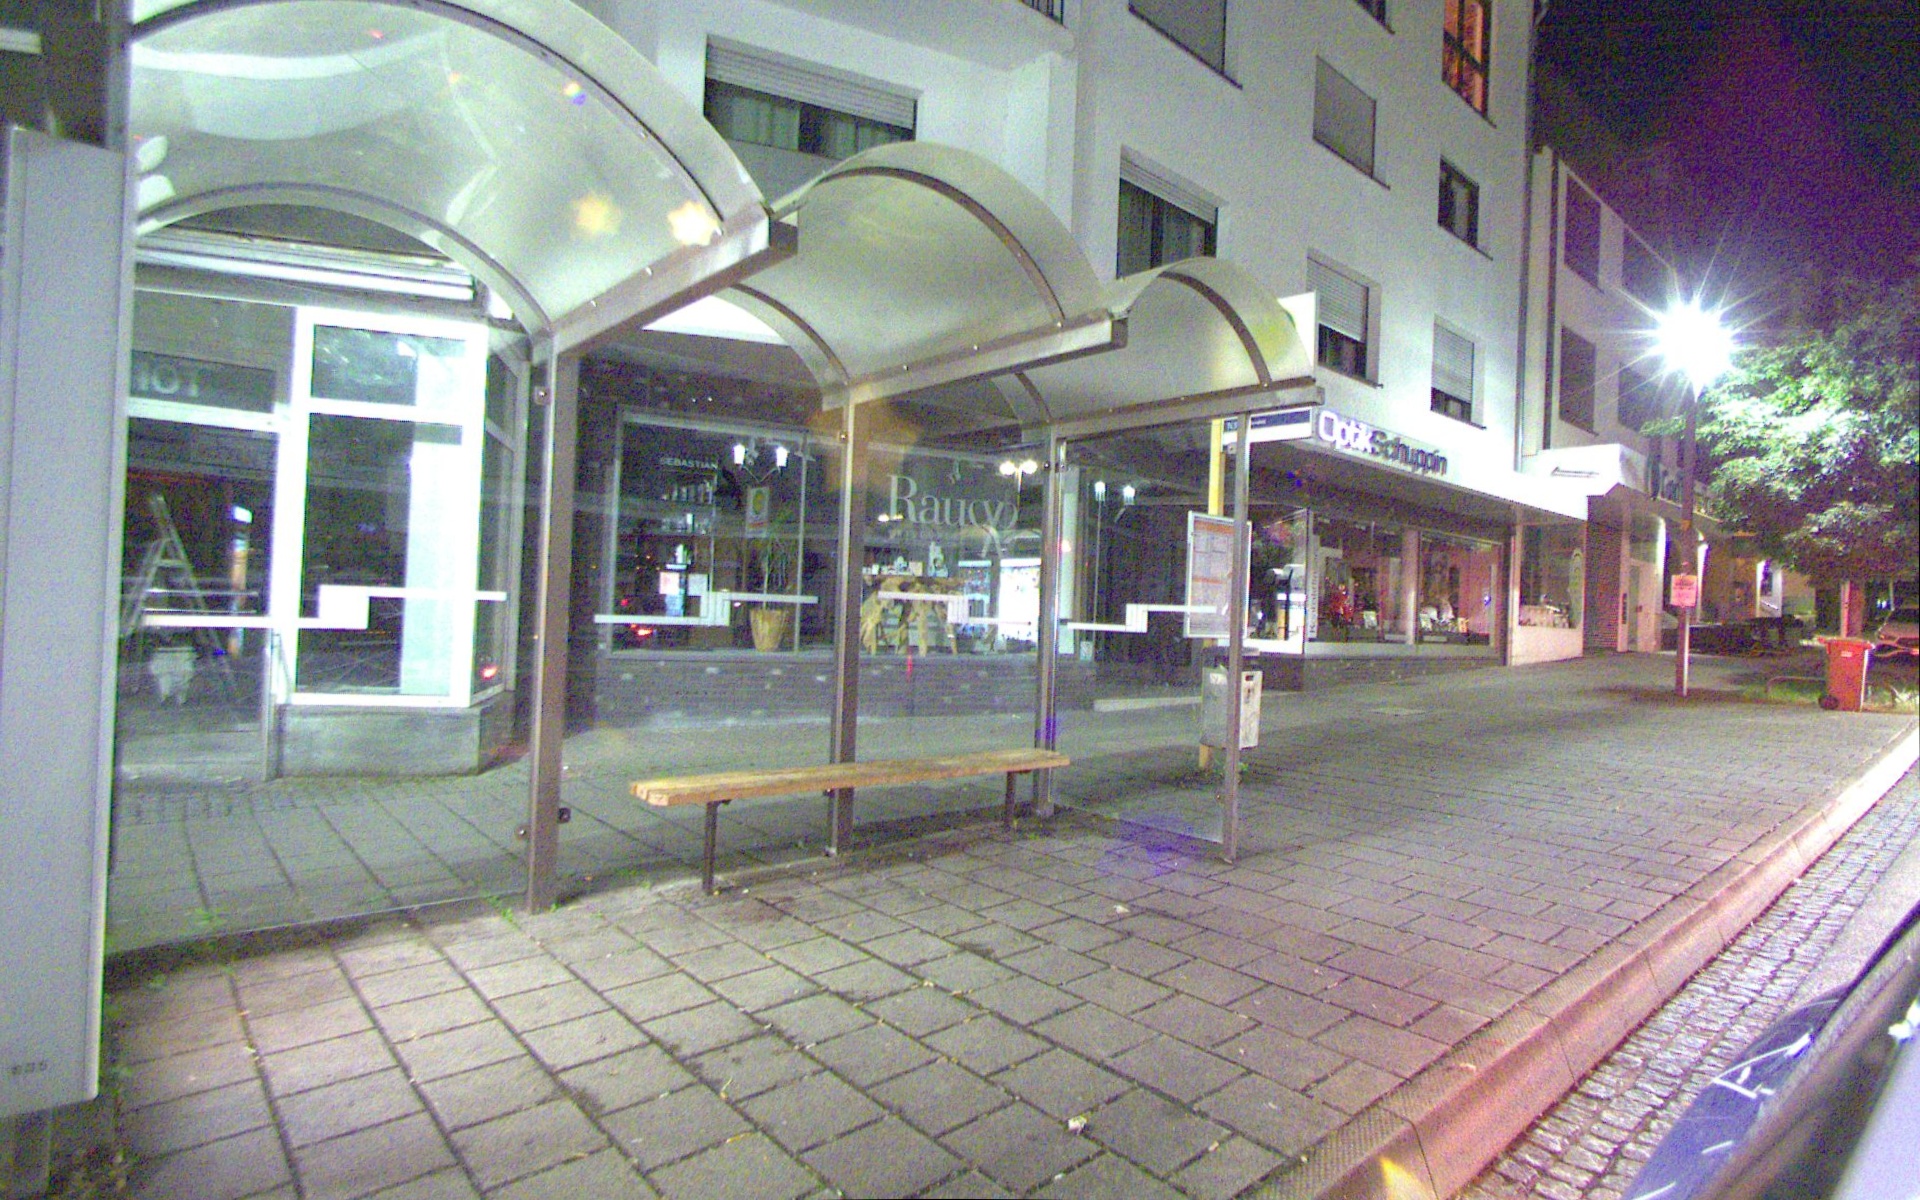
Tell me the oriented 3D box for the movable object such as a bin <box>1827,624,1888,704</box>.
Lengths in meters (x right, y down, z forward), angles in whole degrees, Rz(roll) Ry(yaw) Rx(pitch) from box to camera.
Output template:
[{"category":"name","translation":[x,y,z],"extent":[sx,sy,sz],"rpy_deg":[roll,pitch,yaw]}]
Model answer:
[{"category":"movable object such as a bin","translation":[11.344,0.791,12.806],"extent":[0.523,0.949,0.621],"rpy_deg":[0,1,38]}]

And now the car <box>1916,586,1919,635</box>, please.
[{"category":"car","translation":[35.193,0.384,35.862],"extent":[1.788,1.661,4.309],"rpy_deg":[4,3,44]}]

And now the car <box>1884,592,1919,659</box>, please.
[{"category":"car","translation":[23.761,0.598,24.465],"extent":[4.519,1.459,1.859],"rpy_deg":[-1,3,-45]}]

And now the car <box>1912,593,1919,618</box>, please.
[{"category":"car","translation":[59.720,0.313,62.281],"extent":[1.638,1.485,3.717],"rpy_deg":[-1,0,43]}]
